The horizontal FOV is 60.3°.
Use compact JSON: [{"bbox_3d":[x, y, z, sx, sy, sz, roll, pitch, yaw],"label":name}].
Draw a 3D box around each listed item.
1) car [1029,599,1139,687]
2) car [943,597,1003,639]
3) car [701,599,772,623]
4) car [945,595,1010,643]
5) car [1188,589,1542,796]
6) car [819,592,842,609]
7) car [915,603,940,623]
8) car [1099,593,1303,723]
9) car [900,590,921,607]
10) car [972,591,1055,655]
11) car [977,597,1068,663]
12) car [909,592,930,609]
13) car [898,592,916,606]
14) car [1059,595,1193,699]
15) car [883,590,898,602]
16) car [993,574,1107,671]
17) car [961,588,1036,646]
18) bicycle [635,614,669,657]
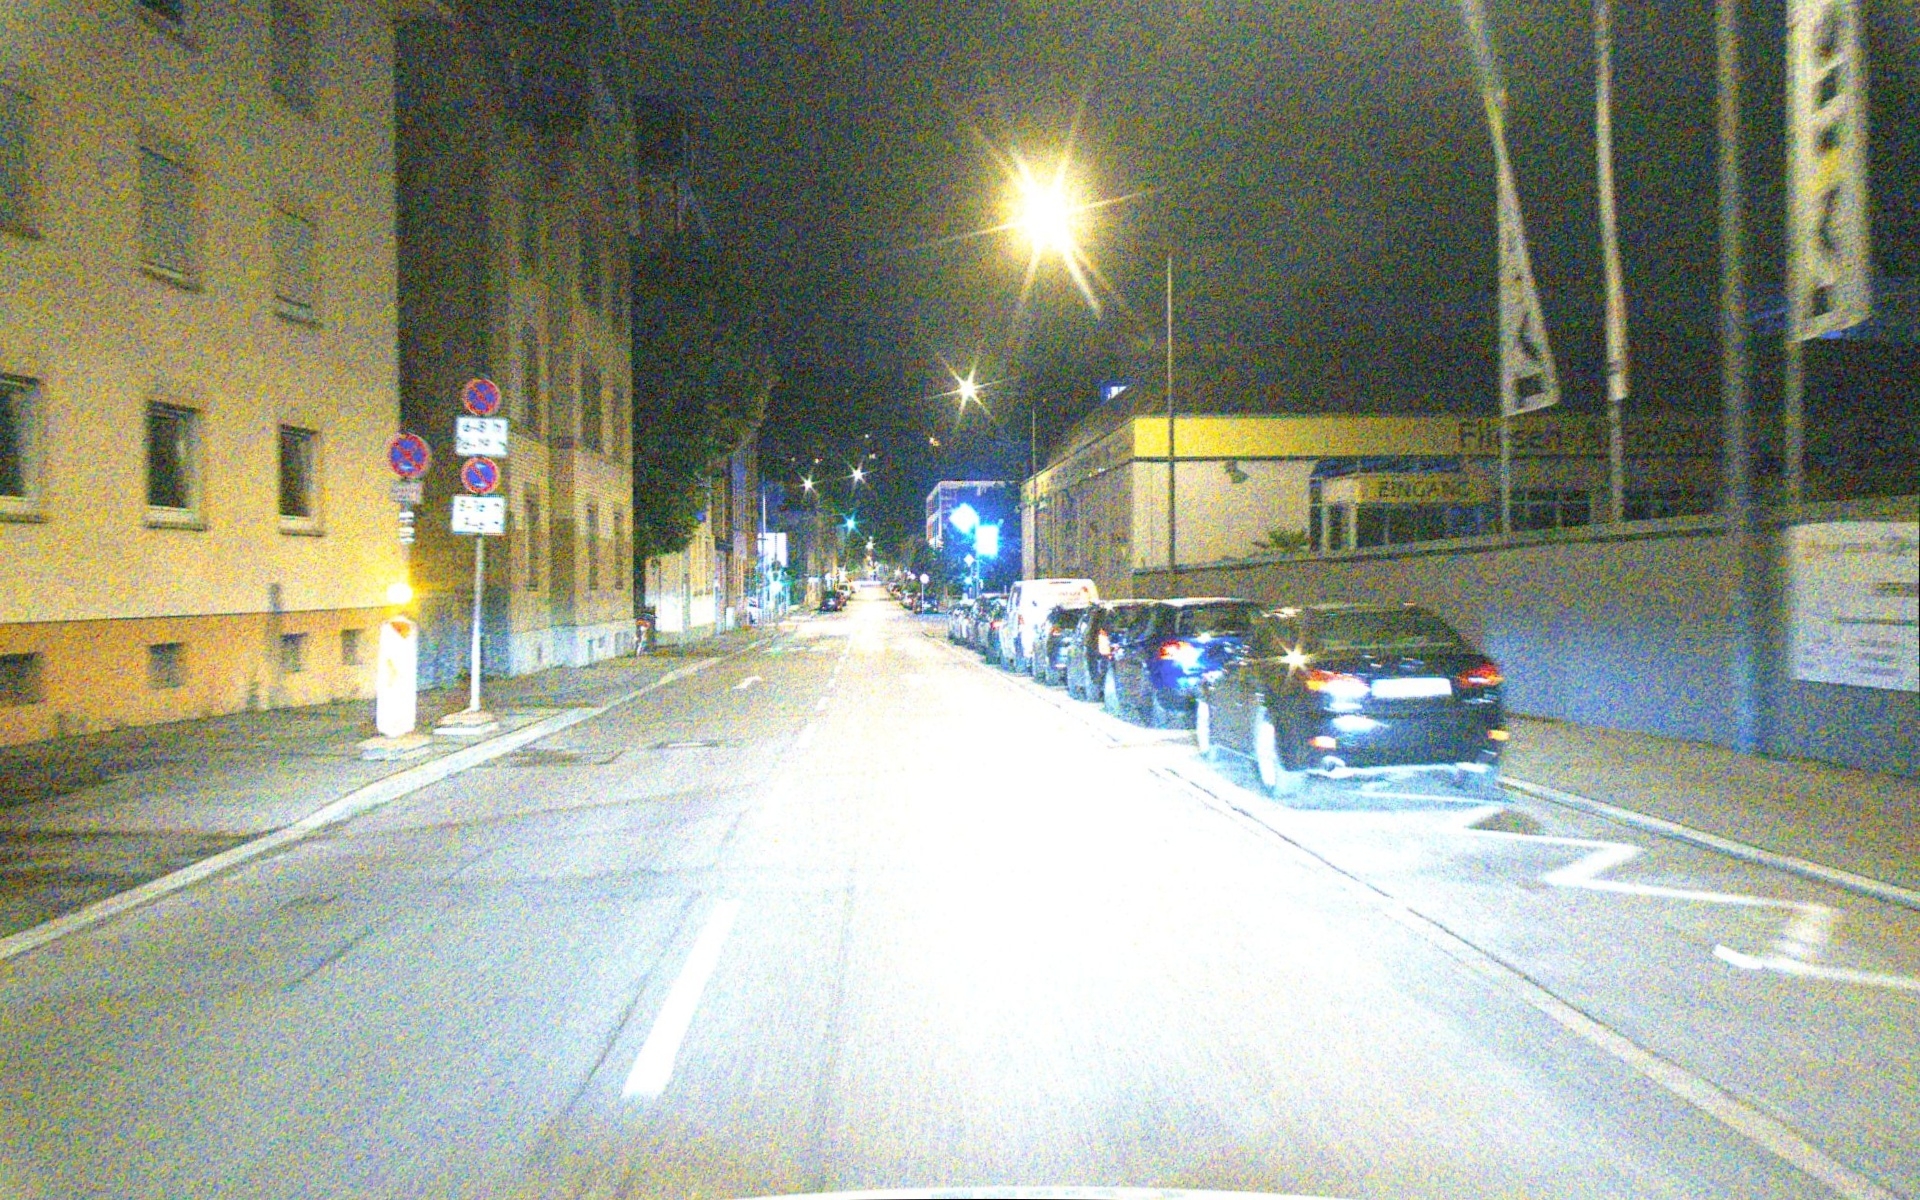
[{"bbox_3d":[2.214,0.753,30.437,1.563,1.492,3.889,0,0,-3],"label":"car"},{"bbox_3d":[0.448,0.672,63.012,1.824,1.515,4.541,0,0,-5],"label":"car"},{"bbox_3d":[-14.320,0.701,106.019,4.351,1.475,1.998,0,-1,-4],"label":"car"},{"bbox_3d":[0.553,0.647,56.657,1.740,1.571,4.541,0,0,-5],"label":"car"},{"bbox_3d":[3.182,0.667,13.961,1.743,1.451,4.478,0,0,-2],"label":"car"},{"bbox_3d":[-11.608,0.043,148.402,1.954,1.528,3.997,0,0,-3],"label":"car"},{"bbox_3d":[-2.548,0.994,130.553,1.953,1.543,3.999,0,0,-2],"label":"car"},{"bbox_3d":[2.894,0.670,20.633,1.743,1.451,3.888,0,0,-4],"label":"car"},{"bbox_3d":[-4.808,-0.128,161.462,1.953,1.546,3.998,0,0,-2],"label":"car"},{"bbox_3d":[1.423,0.594,45.756,1.788,1.616,4.624,-2,0,-4],"label":"car"},{"bbox_3d":[1.477,0.699,40.657,1.780,1.452,4.185,-2,0,-4],"label":"car"},{"bbox_3d":[-3.799,0.096,154.499,1.953,1.546,3.998,0,0,-2],"label":"car"},{"bbox_3d":[-5.700,-0.097,178.591,1.953,1.546,3.998,0,0,-2],"label":"car"},{"bbox_3d":[2.507,0.689,25.721,1.563,1.492,3.717,0,0,-3],"label":"car"},{"bbox_3d":[-9.502,-0.549,226.582,1.953,1.546,3.998,0,0,-2],"label":"car"},{"bbox_3d":[1.882,0.443,35.986,1.765,1.907,4.769,-2,0,-5],"label":"car"},{"bbox_3d":[1.146,0.497,50.893,1.788,1.651,4.453,-2,0,-5],"label":"car"},{"bbox_3d":[-7.934,0.911,42.659,0.607,1.070,1.721,0,-1,-2],"label":"bicycle"}]
